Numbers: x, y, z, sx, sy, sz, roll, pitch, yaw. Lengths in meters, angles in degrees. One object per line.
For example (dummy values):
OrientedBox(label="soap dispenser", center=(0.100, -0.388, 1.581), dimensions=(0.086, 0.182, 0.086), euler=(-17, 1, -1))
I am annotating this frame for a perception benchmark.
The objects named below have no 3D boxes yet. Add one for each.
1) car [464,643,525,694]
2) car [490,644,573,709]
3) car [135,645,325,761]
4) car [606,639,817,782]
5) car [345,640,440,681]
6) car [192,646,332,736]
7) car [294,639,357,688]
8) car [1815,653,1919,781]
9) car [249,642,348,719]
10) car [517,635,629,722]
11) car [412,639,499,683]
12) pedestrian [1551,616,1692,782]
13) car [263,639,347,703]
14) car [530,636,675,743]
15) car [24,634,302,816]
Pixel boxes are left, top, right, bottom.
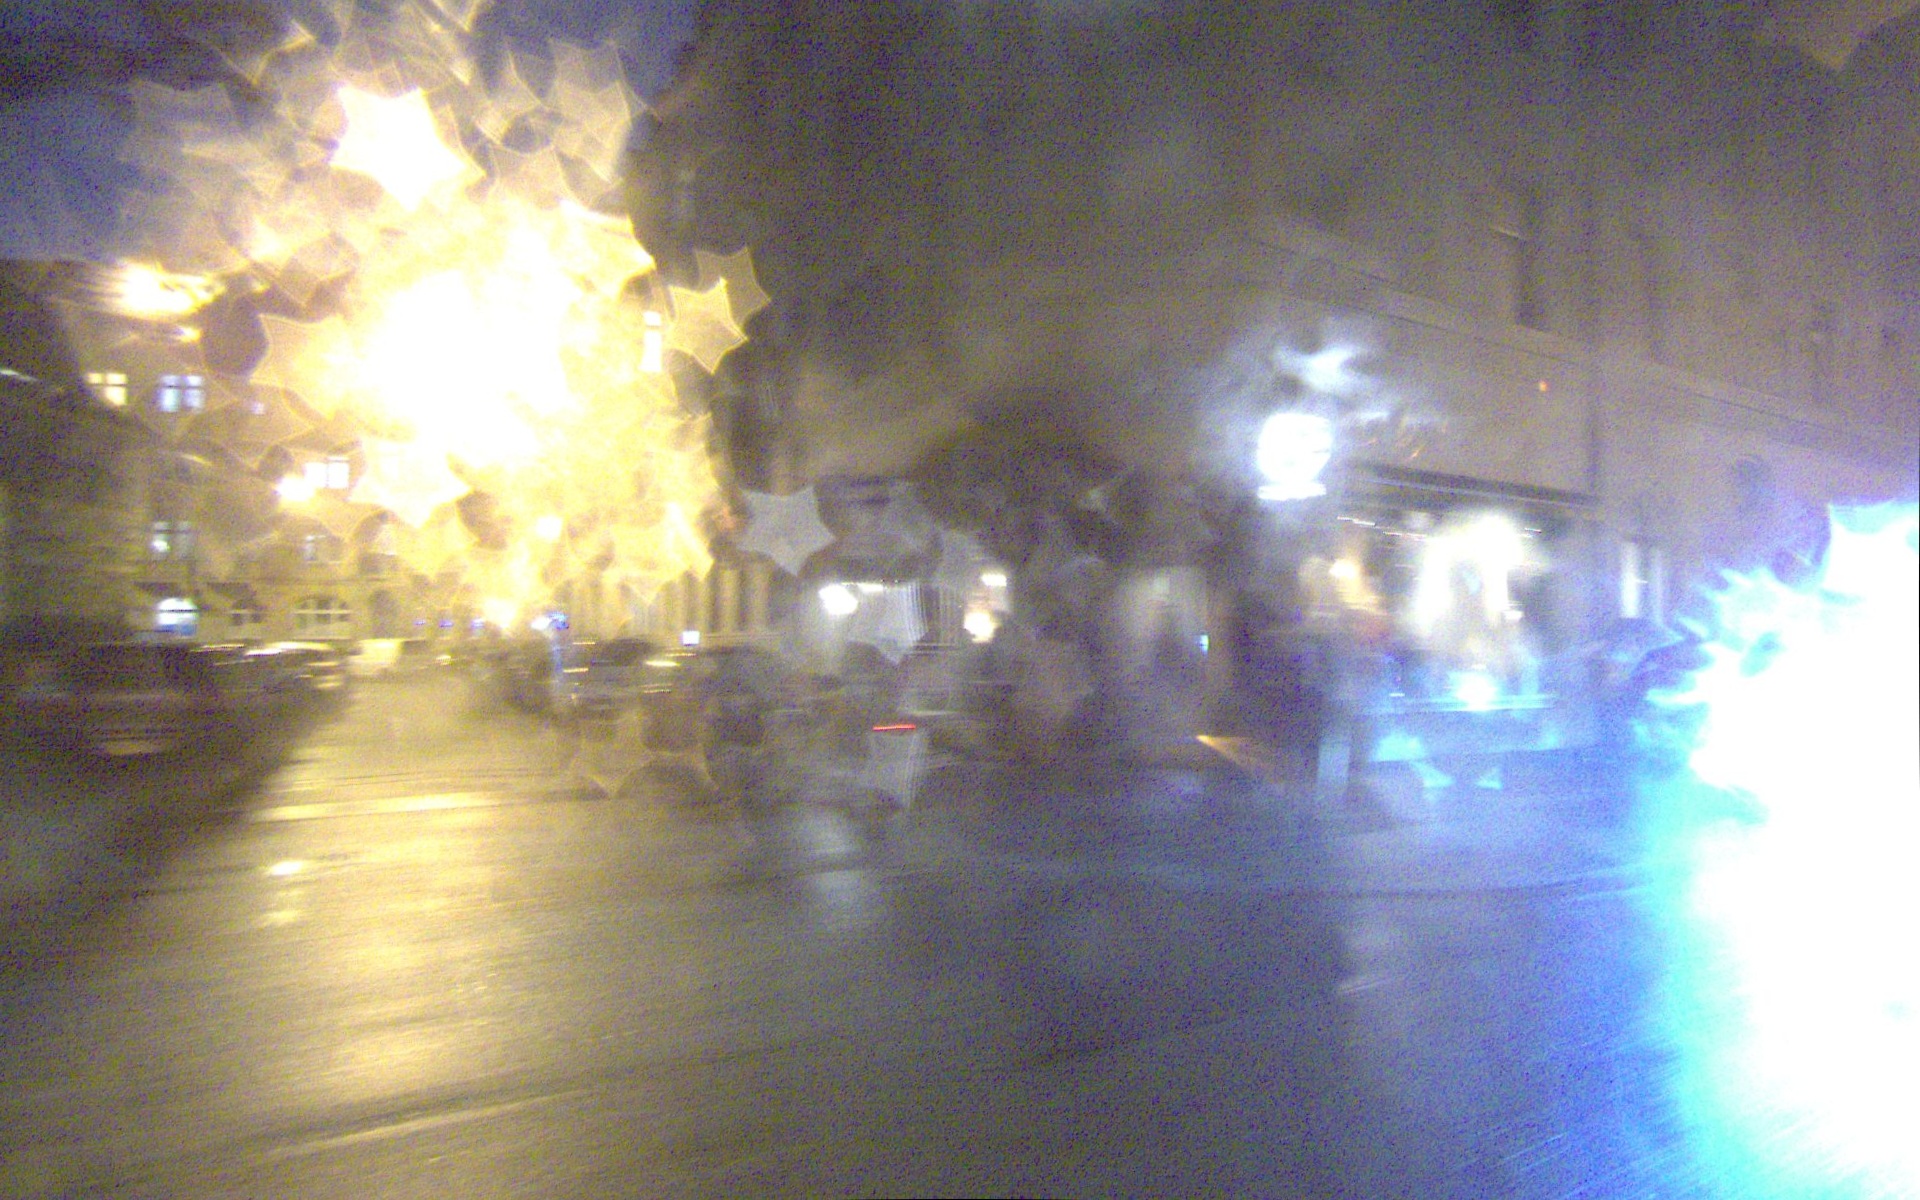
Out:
OrientedBox(label="car", center=(-17.054, 2.451, 36.708), dimensions=(1.711, 1.692, 3.765), euler=(2, -2, -29))
OrientedBox(label="car", center=(-11.997, 2.083, 28.026), dimensions=(1.711, 1.692, 3.766), euler=(2, -3, -29))
OrientedBox(label="car", center=(-10.764, 1.450, 15.093), dimensions=(1.833, 1.467, 3.970), euler=(1, -4, -30))
OrientedBox(label="car", center=(-3.491, 1.346, 13.561), dimensions=(1.770, 1.558, 3.969), euler=(2, -2, -29))
OrientedBox(label="car", center=(-25.169, 2.632, 44.554), dimensions=(4.018, 1.692, 1.819), euler=(0, -2, 29))
OrientedBox(label="car", center=(-13.468, 1.689, 19.606), dimensions=(1.833, 1.468, 3.969), euler=(2, -2, -30))
OrientedBox(label="car", center=(-23.482, 2.305, 37.287), dimensions=(1.834, 1.629, 3.966), euler=(2, -2, -31))
OrientedBox(label="car", center=(12.277, 1.354, 12.155), dimensions=(4.172, 1.377, 1.646), euler=(2, -2, -30))
OrientedBox(label="car", center=(-15.927, 1.870, 24.280), dimensions=(1.835, 1.629, 3.964), euler=(2, -2, -33))
OrientedBox(label="car", center=(-9.112, 1.774, 23.474), dimensions=(1.864, 1.836, 3.970), euler=(2, -3, -29))
OrientedBox(label="car", center=(-21.274, 2.536, 42.322), dimensions=(3.758, 1.692, 1.762), euler=(-1, -2, 36))
OrientedBox(label="pedestrian", center=(7.631, 1.103, 11.619), dimensions=(0.778, 1.806, 1.127), euler=(1, -2, -29))
OrientedBox(label="car", center=(-18.632, 1.971, 28.713), dimensions=(1.834, 1.629, 3.966), euler=(2, -2, -31))
OrientedBox(label="car", center=(-6.675, 1.538, 18.493), dimensions=(1.864, 1.702, 3.969), euler=(2, -2, -29))
OrientedBox(label="car", center=(-8.368, 1.197, 10.925), dimensions=(1.696, 1.591, 3.916), euler=(2, -3, -29))
